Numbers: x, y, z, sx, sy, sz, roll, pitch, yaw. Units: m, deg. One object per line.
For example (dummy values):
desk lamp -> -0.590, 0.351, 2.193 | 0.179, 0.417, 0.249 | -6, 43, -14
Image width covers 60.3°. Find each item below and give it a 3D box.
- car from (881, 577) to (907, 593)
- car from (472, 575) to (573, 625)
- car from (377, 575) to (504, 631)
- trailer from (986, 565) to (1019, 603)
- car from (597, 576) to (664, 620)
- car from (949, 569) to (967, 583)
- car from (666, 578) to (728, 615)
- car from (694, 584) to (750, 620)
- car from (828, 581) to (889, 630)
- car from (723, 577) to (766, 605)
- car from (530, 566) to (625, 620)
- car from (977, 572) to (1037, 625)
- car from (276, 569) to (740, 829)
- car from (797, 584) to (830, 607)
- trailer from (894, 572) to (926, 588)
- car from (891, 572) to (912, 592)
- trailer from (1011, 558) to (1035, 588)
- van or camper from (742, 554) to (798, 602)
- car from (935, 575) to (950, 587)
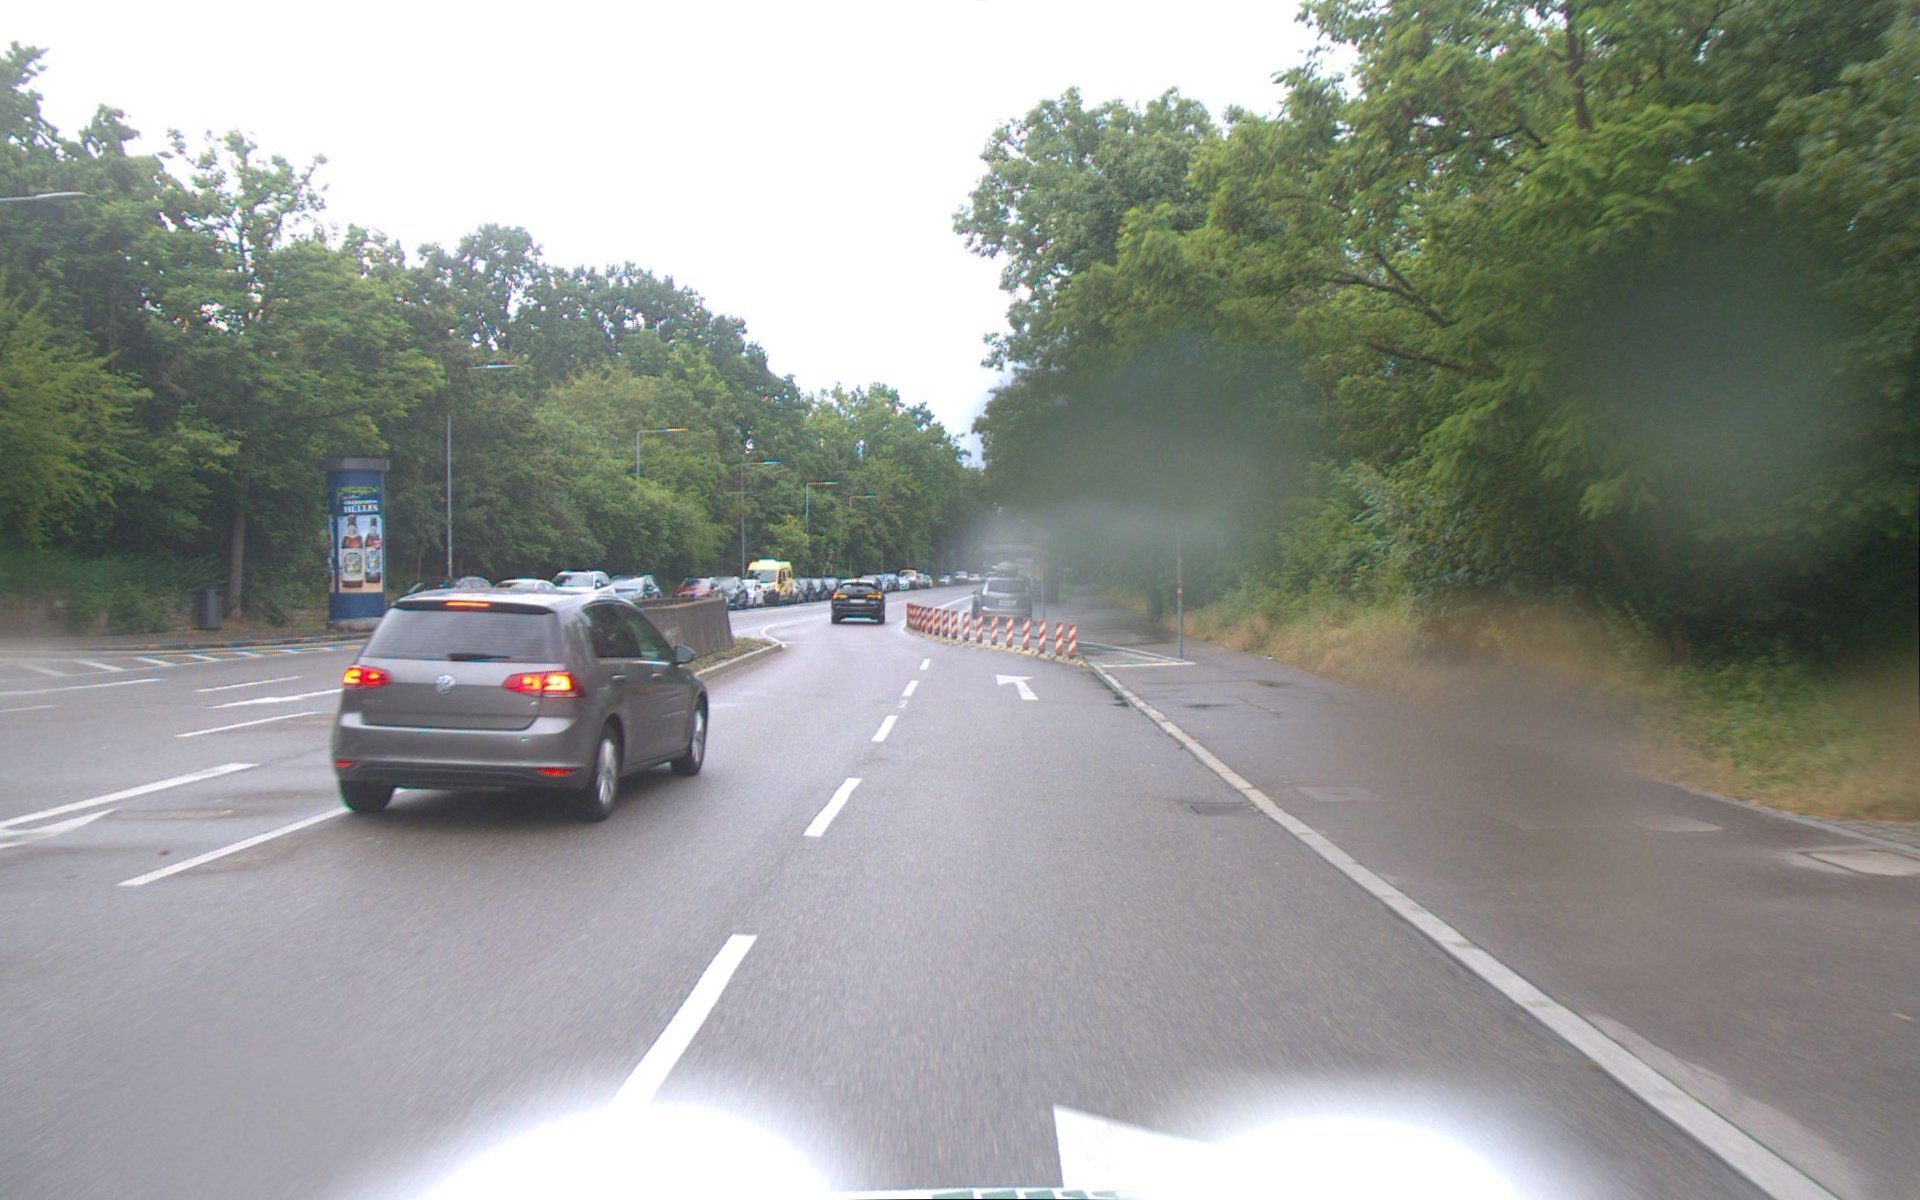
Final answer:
car -> -6.317, -1.433, 157.957 | 1.951, 1.514, 4.471 | 1, 1, 4
car -> -13.897, -0.023, 52.769 | 1.682, 1.485, 4.710 | 0, 1, 4
car -> -14.590, 0.059, 46.736 | 1.712, 1.470, 4.590 | 1, 1, 6
trailer -> 2.701, -1.024, 103.816 | 1.866, 2.287, 4.770 | 1, 1, 3
car -> -13.121, -0.103, 66.117 | 1.695, 1.677, 4.572 | 1, 0, 1
car -> -0.286, -3.456, 239.224 | 2.113, 2.049, 5.034 | 0, 1, 5
car -> -12.309, -0.184, 77.629 | 1.878, 1.645, 4.492 | 0, 0, 4
car -> -11.967, 0.060, 83.376 | 1.952, 1.730, 4.617 | 0, 1, 2
car -> -3.416, 0.158, 55.210 | 1.844, 1.491, 3.996 | 2, 1, -6
car -> -11.503, -0.507, 88.484 | 1.583, 1.474, 3.659 | -1, 1, 4
car -> -13.506, -0.249, 58.687 | 1.952, 1.796, 4.962 | 1, 0, 3
car -> 1.527, -0.054, 55.027 | 1.785, 1.643, 4.251 | 1, 0, -1
car -> -2.963, 0.611, 11.920 | 1.832, 1.466, 4.298 | 2, -1, 4
car -> -9.814, -0.316, 111.095 | 1.569, 1.536, 3.979 | 0, 1, 5
trailer -> -5.243, -2.101, 174.186 | 1.597, 1.657, 3.660 | 1, 1, 35
car -> -5.960, -1.855, 169.478 | 1.900, 2.049, 4.741 | 1, 1, 1
trailer -> 5.721, -2.442, 150.324 | 2.088, 2.605, 4.298 | 1, 1, 2
van or camper -> -10.868, -1.266, 94.940 | 2.098, 2.673, 5.686 | 0, 1, 5
car -> -2.237, -2.437, 214.147 | 1.637, 1.540, 3.632 | 1, 1, 3
